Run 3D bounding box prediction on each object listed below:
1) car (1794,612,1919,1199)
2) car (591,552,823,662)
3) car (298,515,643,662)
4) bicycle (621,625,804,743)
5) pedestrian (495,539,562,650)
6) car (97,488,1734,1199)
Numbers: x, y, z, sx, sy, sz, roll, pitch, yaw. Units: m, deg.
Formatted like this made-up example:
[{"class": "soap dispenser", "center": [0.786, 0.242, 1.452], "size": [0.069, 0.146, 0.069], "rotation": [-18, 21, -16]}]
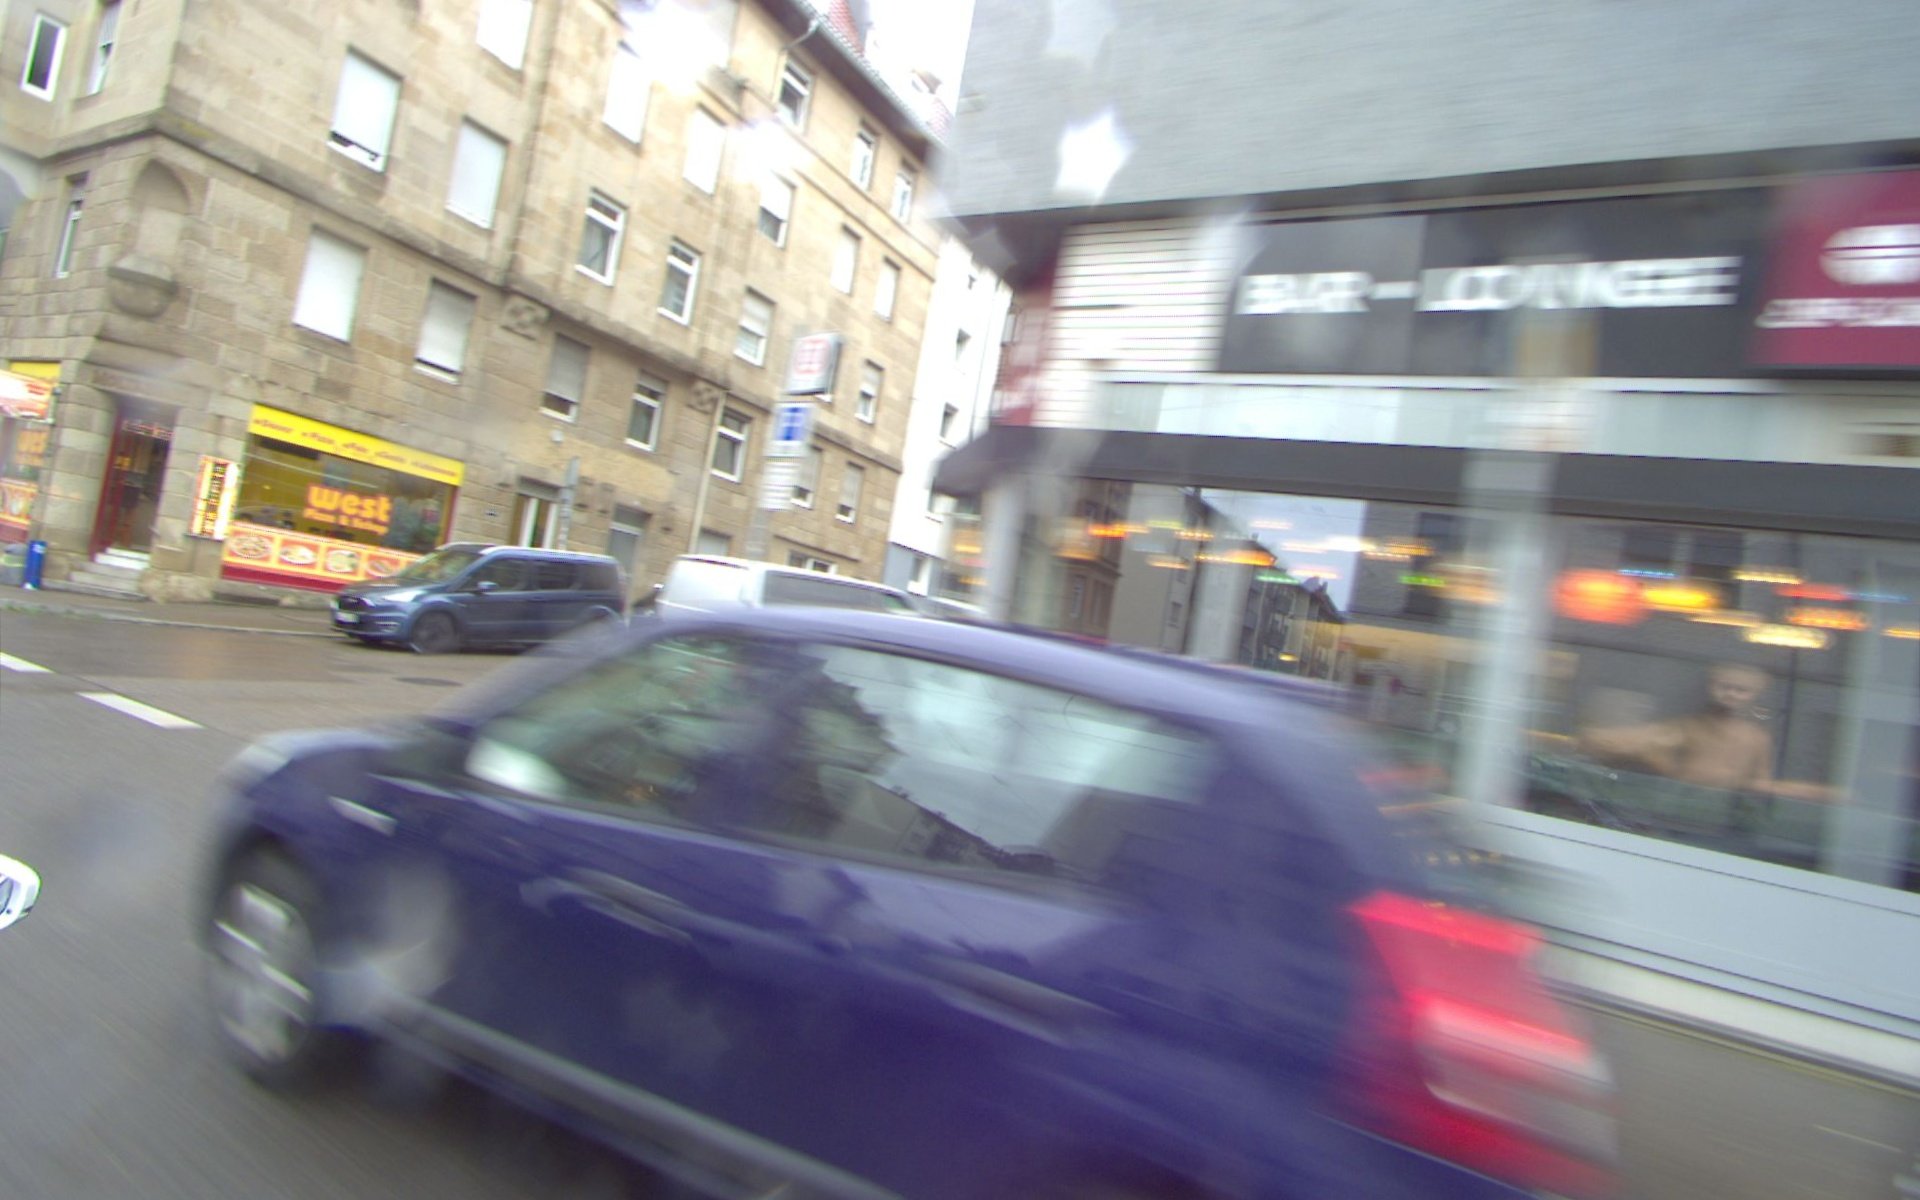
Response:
[{"class": "car", "center": [3.416, 1.078, 0.352], "size": [4.489, 1.780, 1.798], "rotation": [7, -2, 30]}, {"class": "car", "center": [-5.266, 0.235, 21.642], "size": [1.967, 1.949, 4.710], "rotation": [5, -1, 31]}, {"class": "car", "center": [-7.934, -0.083, 16.862], "size": [1.966, 1.884, 4.786], "rotation": [7, 0, 30]}, {"class": "bicycle", "center": [-2.355, 0.857, 9.799], "size": [0.524, 0.983, 1.753], "rotation": [7, -3, 32]}, {"class": "pedestrian", "center": [-8.498, -0.106, 19.810], "size": [0.744, 2.038, 0.626], "rotation": [10, 1, 32]}, {"class": "car", "center": [-0.436, 0.692, 2.932], "size": [3.860, 1.500, 1.696], "rotation": [7, -1, 27]}]
